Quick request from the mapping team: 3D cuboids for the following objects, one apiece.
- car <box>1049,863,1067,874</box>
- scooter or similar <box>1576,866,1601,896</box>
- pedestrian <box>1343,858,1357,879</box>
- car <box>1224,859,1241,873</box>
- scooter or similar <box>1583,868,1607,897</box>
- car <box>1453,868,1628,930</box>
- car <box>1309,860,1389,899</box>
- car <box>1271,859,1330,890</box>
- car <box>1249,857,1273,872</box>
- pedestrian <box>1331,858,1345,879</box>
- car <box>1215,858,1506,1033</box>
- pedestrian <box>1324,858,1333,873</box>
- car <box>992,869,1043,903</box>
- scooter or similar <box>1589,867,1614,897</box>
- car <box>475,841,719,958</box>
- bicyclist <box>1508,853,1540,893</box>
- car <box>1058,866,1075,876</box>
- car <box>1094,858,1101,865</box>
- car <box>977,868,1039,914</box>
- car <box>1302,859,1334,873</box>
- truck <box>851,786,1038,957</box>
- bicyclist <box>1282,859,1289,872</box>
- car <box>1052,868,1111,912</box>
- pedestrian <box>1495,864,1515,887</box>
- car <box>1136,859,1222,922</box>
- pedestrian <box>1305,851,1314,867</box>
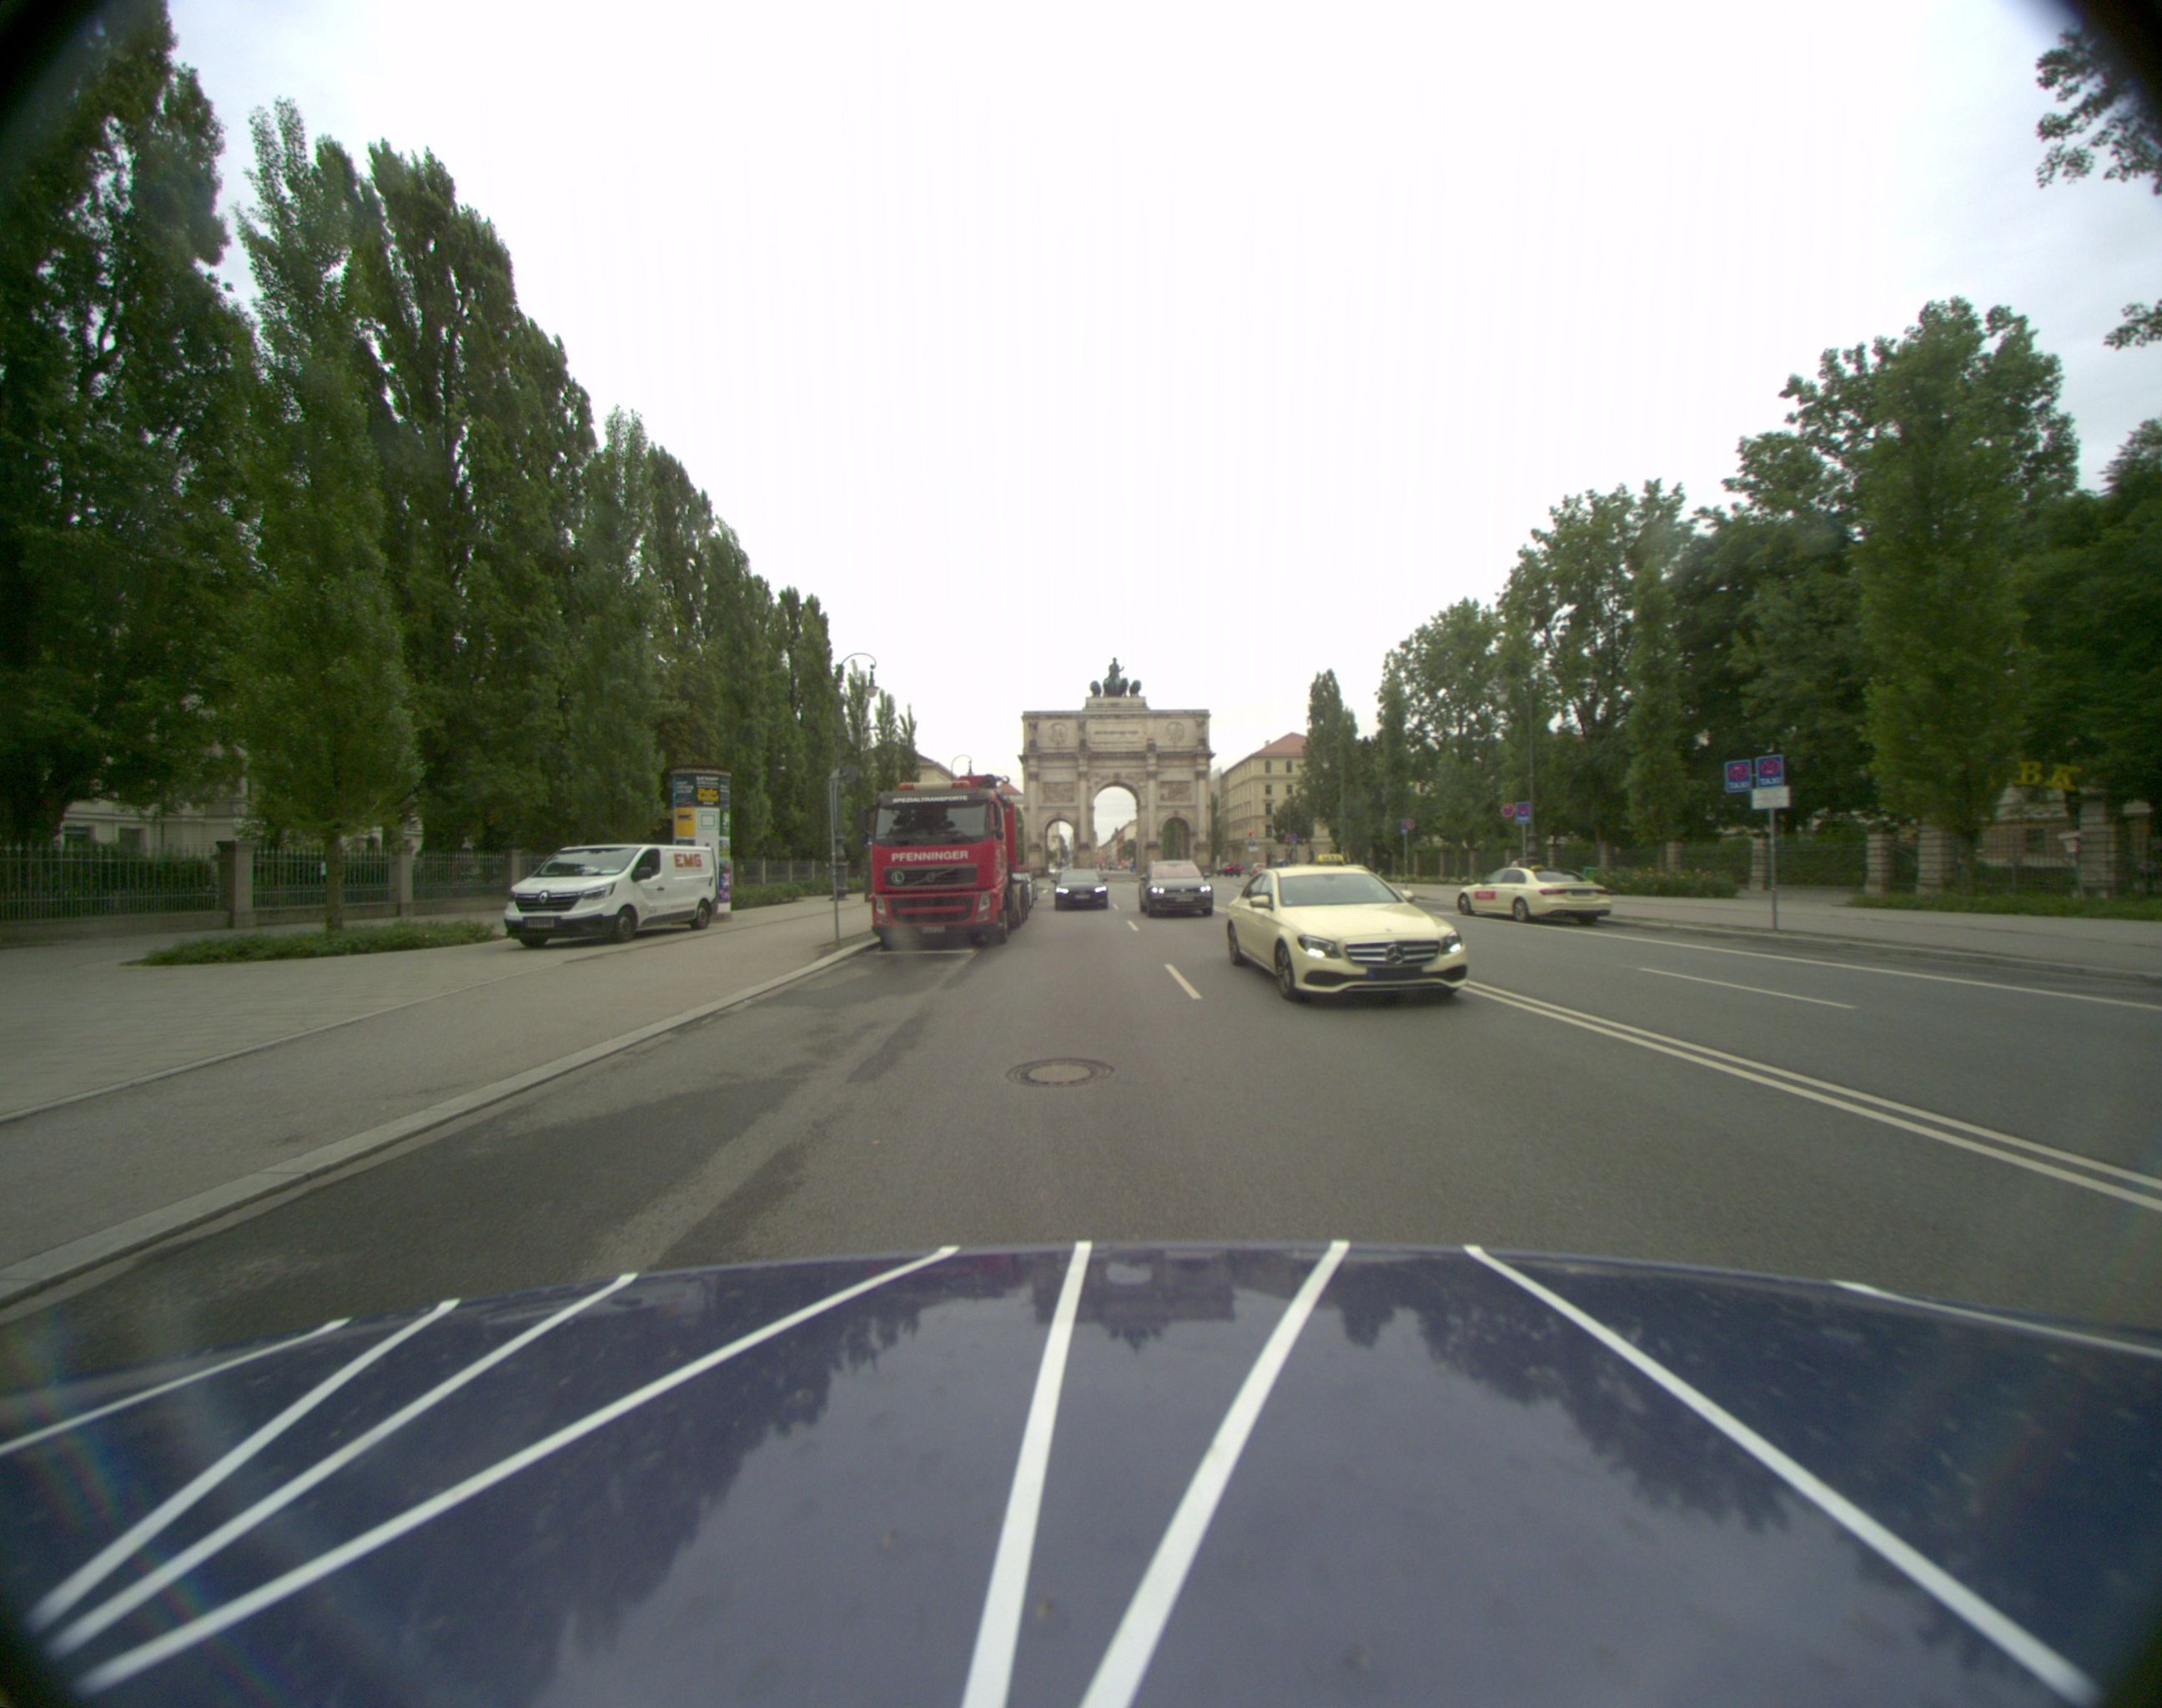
[{"bbox_3d":[-4.037,2.554,134.149,1.785,1.739,4.326,-1,-1,16],"label":"car"},{"bbox_3d":[21.191,1.128,31.748,0.258,1.234,1.141,-1,0,1],"label":"scooter or similar"},{"bbox_3d":[21.375,1.129,60.357,0.846,1.668,0.967,-1,0,6],"label":"pedestrian"},{"bbox_3d":[19.838,1.564,99.497,1.785,1.662,4.002,-1,-1,4],"label":"car"},{"bbox_3d":[21.464,1.173,31.745,0.243,1.194,1.122,-1,0,0],"label":"scooter or similar"},{"bbox_3d":[12.220,1.130,20.673,1.935,1.488,4.791,0,-1,1],"label":"car"},{"bbox_3d":[12.263,1.107,35.190,1.942,1.615,4.964,0,0,0],"label":"car"},{"bbox_3d":[12.089,1.082,42.097,1.823,1.550,4.858,1,0,0],"label":"car"},{"bbox_3d":[23.674,1.364,100.045,2.004,1.844,4.991,1,0,2],"label":"car"},{"bbox_3d":[20.546,1.153,60.712,0.846,1.668,0.967,-1,0,6],"label":"pedestrian"},{"bbox_3d":[3.086,0.891,9.605,1.919,1.565,4.689,-3,0,0],"label":"car"},{"bbox_3d":[30.366,1.422,93.158,0.914,1.775,0.754,-1,0,3],"label":"pedestrian"},{"bbox_3d":[-2.682,1.349,32.794,1.739,1.302,4.370,-1,-1,1],"label":"car"},{"bbox_3d":[21.728,1.166,31.741,0.243,1.194,1.122,-1,0,0],"label":"scooter or similar"},{"bbox_3d":[-9.501,0.816,15.543,1.885,1.933,4.885,-2,-1,-1],"label":"car"},{"bbox_3d":[16.694,0.711,28.662,0.695,1.489,0.861,-1,0,-1],"label":"bicyclist"},{"bbox_3d":[-2.622,3.050,139.221,1.785,1.739,4.326,-1,-1,16],"label":"car"},{"bbox_3d":[4.944,2.307,226.188,1.999,2.001,4.395,-1,0,0],"label":"car"},{"bbox_3d":[-2.530,1.258,27.181,1.792,1.451,4.218,-2,-1,0],"label":"car"},{"bbox_3d":[34.525,1.798,110.786,3.997,2.002,2.000,-1,0,0],"label":"car"},{"bbox_3d":[-2.794,0.371,19.113,2.720,3.091,10.427,-1,-1,0],"label":"truck"},{"bbox_3d":[28.258,1.563,104.796,0.643,1.699,0.860,-1,0,-6],"label":"bicyclist"},{"bbox_3d":[-0.065,1.261,27.823,1.923,1.320,4.410,-3,0,-2],"label":"car"},{"bbox_3d":[24.672,1.266,44.252,0.578,1.329,0.838,-1,0,-27],"label":"pedestrian"},{"bbox_3d":[2.826,1.005,22.909,1.953,1.615,4.411,-3,0,0],"label":"car"},{"bbox_3d":[29.753,0.679,98.897,0.796,2.002,0.754,-1,0,-35],"label":"pedestrian"}]
